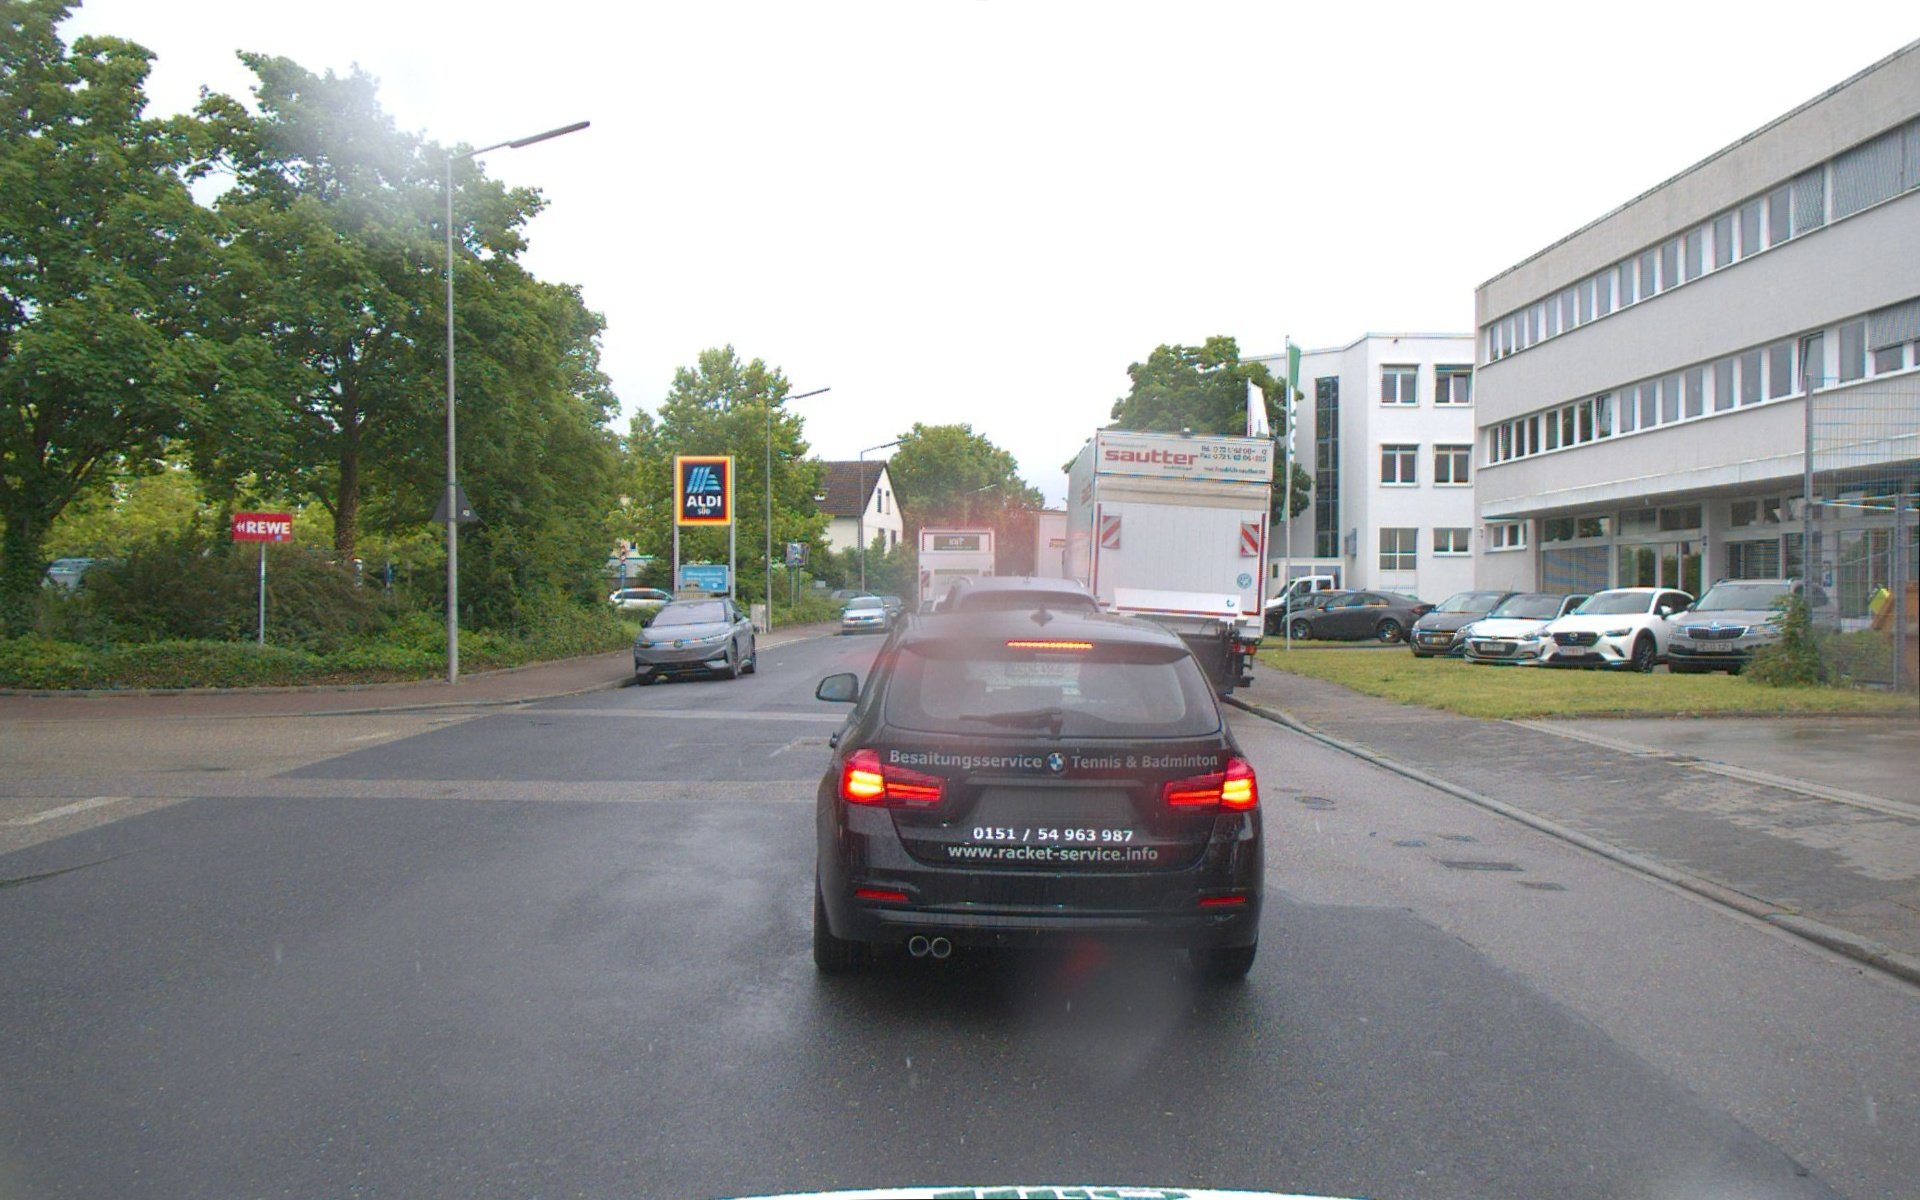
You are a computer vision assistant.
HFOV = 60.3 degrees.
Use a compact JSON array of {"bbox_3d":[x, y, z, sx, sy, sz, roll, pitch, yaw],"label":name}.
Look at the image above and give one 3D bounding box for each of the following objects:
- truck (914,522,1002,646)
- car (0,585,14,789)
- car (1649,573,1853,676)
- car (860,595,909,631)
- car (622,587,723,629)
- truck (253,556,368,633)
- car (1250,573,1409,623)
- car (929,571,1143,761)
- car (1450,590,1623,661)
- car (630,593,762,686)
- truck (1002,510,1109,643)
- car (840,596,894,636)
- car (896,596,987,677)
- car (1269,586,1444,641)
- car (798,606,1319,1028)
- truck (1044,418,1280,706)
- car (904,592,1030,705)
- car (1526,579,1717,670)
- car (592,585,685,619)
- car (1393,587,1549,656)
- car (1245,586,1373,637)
[{"bbox_3d":[-0.104,-0.608,49.435,2.294,3.312,7.751,3,3,-1],"label":"truck"},{"bbox_3d":[-8.996,0.663,11.796,3.903,1.466,1.737,-1,1,18],"label":"car"},{"bbox_3d":[12.973,0.349,27.029,1.842,1.554,3.972,0,0,45],"label":"car"},{"bbox_3d":[-3.232,0.547,71.190,1.670,1.391,3.840,-2,0,3],"label":"car"},{"bbox_3d":[-11.011,0.304,63.499,3.496,1.485,1.713,2,0,1],"label":"car"},{"bbox_3d":[-24.702,-0.208,63.191,1.953,2.801,6.466,0,0,-1],"label":"truck"},{"bbox_3d":[15.751,-0.077,70.644,6.326,2.049,1.998,1,-1,-5],"label":"car"},{"bbox_3d":[0.619,0.572,16.201,1.768,1.614,3.998,1,0,-2],"label":"car"},{"bbox_3d":[11.384,0.464,32.522,1.678,1.309,3.971,0,0,45],"label":"car"},{"bbox_3d":[-5.020,0.713,32.071,1.772,1.555,4.747,-4,0,-1],"label":"car"},{"bbox_3d":[2.824,-0.690,51.023,2.685,3.674,7.749,2,0,0],"label":"truck"},{"bbox_3d":[-3.624,0.603,65.089,1.670,1.391,4.602,-2,0,2],"label":"car"},{"bbox_3d":[-0.428,0.732,34.765,1.768,1.579,3.998,1,0,-2],"label":"car"},{"bbox_3d":[11.287,0.361,47.235,4.586,1.493,1.783,0,0,38],"label":"car"},{"bbox_3d":[0.281,0.753,7.649,1.768,1.419,3.998,1,0,-2],"label":"car"},{"bbox_3d":[3.022,-0.547,27.474,2.685,3.855,9.299,3,0,0],"label":"truck"},{"bbox_3d":[0.041,0.687,25.486,1.768,1.579,3.998,1,0,-2],"label":"car"},{"bbox_3d":[11.756,0.389,29.283,1.746,1.496,3.971,0,0,45],"label":"car"},{"bbox_3d":[-14.875,0.083,76.702,3.904,1.567,1.911,0,0,1],"label":"car"},{"bbox_3d":[11.016,0.424,35.559,1.678,1.417,3.741,0,0,45],"label":"car"},{"bbox_3d":[11.352,0.347,53.898,3.712,1.420,1.718,4,3,40],"label":"car"}]
